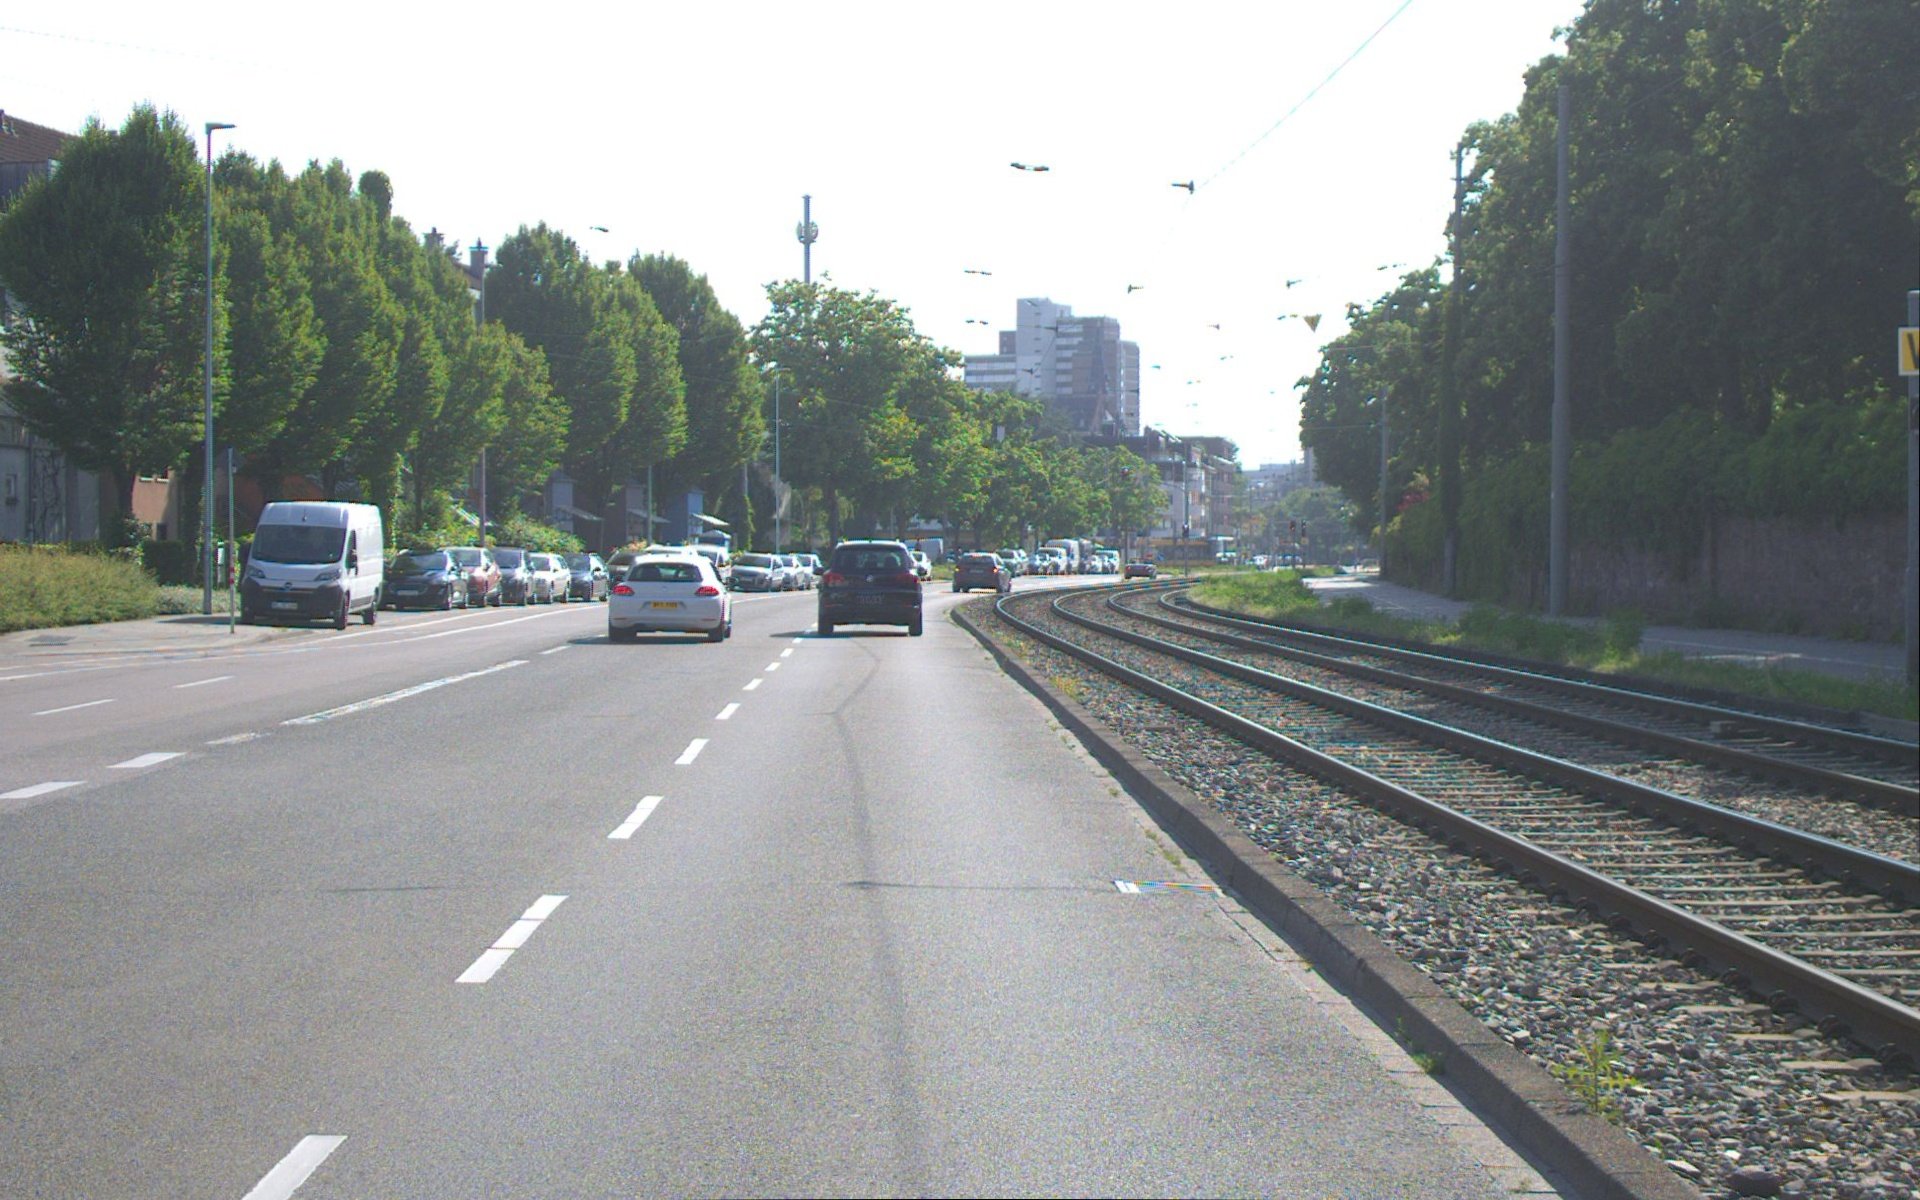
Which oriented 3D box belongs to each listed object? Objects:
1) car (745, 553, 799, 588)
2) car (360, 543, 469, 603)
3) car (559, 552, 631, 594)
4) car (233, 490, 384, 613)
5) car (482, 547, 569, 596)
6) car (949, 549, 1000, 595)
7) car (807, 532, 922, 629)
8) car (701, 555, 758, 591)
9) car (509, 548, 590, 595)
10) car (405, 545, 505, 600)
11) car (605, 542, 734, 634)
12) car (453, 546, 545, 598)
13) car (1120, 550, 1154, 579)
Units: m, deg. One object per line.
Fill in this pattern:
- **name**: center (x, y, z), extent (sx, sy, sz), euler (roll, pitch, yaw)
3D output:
- **car**: center (-7.908, -1.255, 144.831), extent (1.993, 1.411, 3.844), euler (0, 1, 1)
- **car**: center (-13.308, -0.683, 84.062), extent (1.993, 1.411, 3.844), euler (0, 1, 1)
- **car**: center (-12.550, -0.953, 118.474), extent (1.993, 1.411, 3.844), euler (0, 1, 1)
- **car**: center (-12.968, -0.976, 68.716), extent (1.993, 2.368, 4.538), euler (0, 1, 2)
- **car**: center (-12.768, -0.845, 101.146), extent (1.993, 1.411, 3.844), euler (0, 1, 1)
- **car**: center (0.536, -1.016, 123.607), extent (1.724, 1.587, 3.601), euler (2, 1, 1)
- **car**: center (-1.700, -0.368, 60.105), extent (1.724, 1.587, 3.602), euler (2, 1, -5)
- **car**: center (-9.357, -1.116, 139.829), extent (1.993, 1.411, 3.844), euler (0, 1, 1)
- **car**: center (-12.709, -0.895, 106.722), extent (1.993, 1.411, 3.844), euler (0, 1, 1)
- **car**: center (-13.203, -0.737, 90.095), extent (1.993, 1.411, 3.844), euler (0, 1, 1)
- **car**: center (-4.609, -0.221, 54.921), extent (1.781, 1.351, 3.601), euler (2, 1, -1)
- **car**: center (-12.832, -0.788, 95.876), extent (1.993, 1.411, 3.844), euler (0, 1, 1)
- **car**: center (9.957, -1.992, 193.128), extent (1.724, 1.587, 3.600), euler (2, 1, 5)
